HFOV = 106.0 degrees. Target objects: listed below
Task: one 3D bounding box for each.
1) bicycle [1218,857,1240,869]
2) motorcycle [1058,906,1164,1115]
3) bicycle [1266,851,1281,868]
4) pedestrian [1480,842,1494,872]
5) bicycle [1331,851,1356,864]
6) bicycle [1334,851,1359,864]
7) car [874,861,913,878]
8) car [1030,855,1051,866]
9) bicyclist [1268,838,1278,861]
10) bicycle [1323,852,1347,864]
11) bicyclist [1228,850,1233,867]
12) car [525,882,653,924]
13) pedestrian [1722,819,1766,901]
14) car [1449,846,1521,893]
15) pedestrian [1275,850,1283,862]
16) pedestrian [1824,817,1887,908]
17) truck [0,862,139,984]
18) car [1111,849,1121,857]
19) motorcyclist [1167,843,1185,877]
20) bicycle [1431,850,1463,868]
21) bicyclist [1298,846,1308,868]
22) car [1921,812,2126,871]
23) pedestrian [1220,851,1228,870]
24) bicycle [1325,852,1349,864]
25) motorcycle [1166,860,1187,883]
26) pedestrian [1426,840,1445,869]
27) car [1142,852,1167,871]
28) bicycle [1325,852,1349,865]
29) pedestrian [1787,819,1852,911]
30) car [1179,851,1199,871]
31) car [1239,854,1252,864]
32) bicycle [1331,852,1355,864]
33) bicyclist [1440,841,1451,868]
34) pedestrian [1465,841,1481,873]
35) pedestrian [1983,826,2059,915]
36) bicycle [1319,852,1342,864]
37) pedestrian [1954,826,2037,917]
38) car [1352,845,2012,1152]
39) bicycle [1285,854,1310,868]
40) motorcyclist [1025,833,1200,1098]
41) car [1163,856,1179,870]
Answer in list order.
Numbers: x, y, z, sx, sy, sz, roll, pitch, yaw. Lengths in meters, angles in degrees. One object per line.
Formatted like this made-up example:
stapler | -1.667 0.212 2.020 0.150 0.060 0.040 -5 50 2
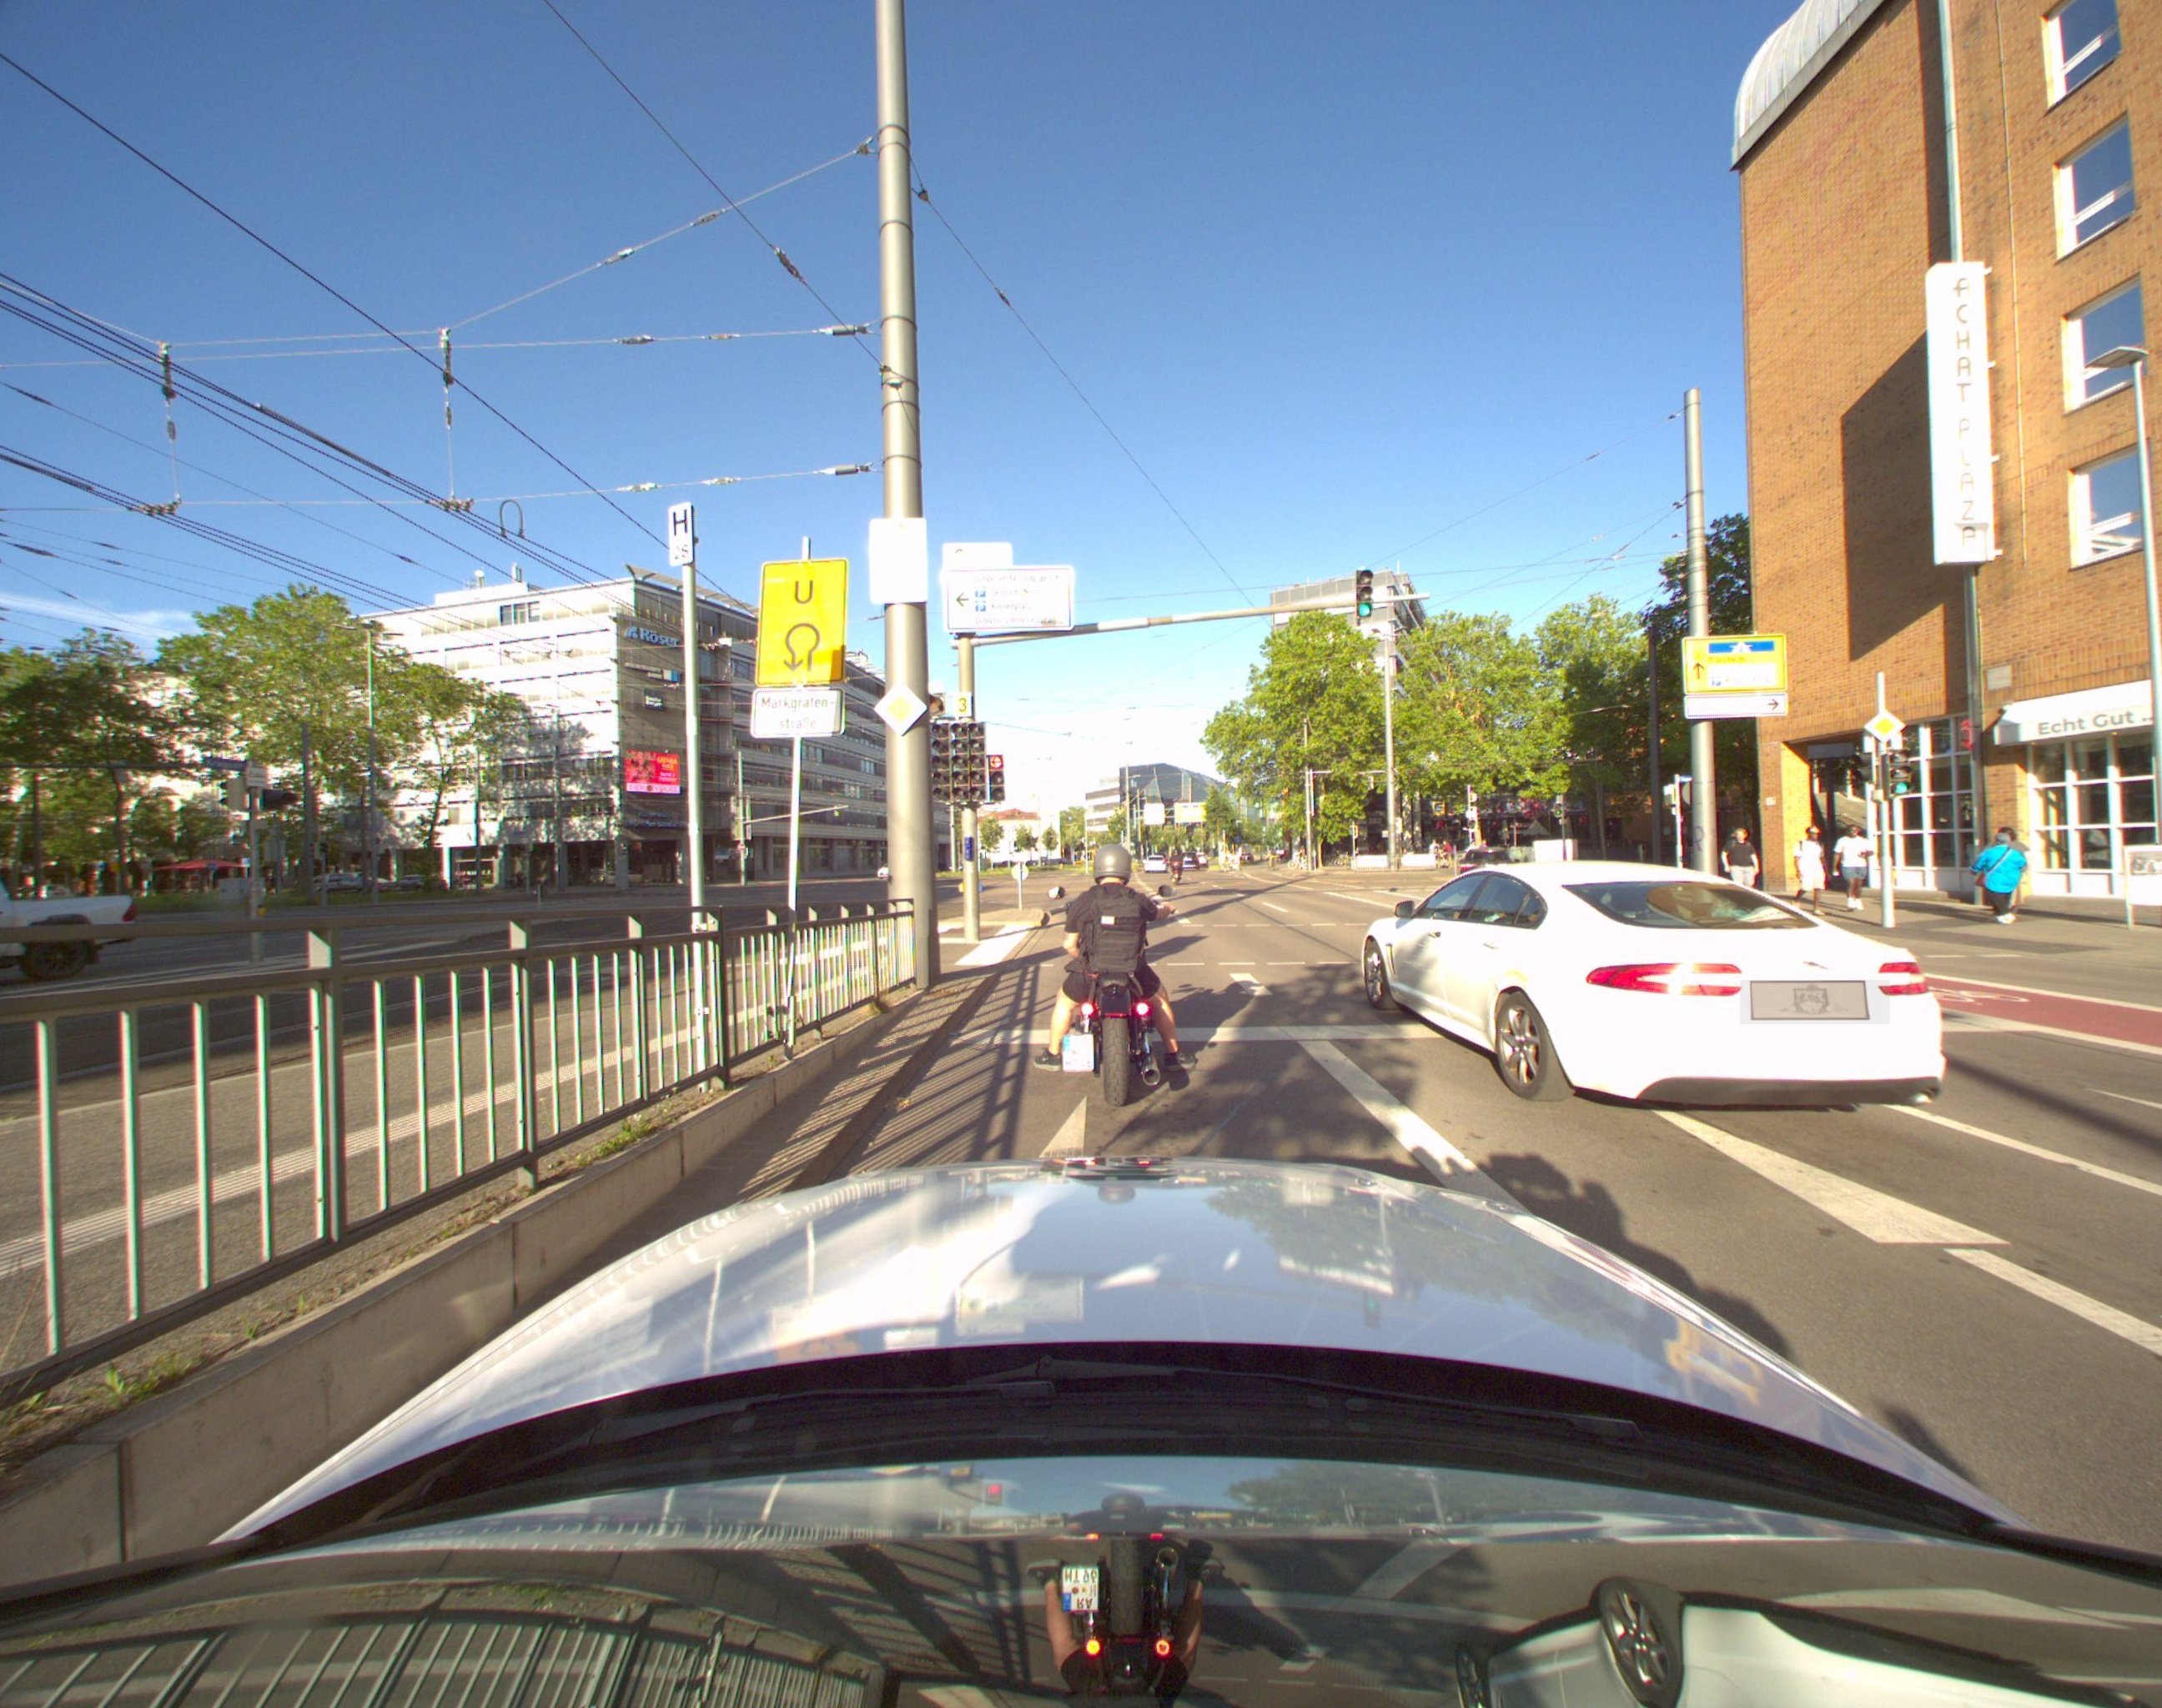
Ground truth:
bicycle | 12.170 0.751 66.947 1.823 0.925 0.357 0 -1 -7
motorcycle | 0.208 0.963 5.753 0.598 1.036 2.235 0 0 2
bicycle | 15.355 0.438 64.988 0.722 1.367 2.922 0 -1 6
pedestrian | 20.018 0.162 40.167 0.561 1.479 0.706 -1 -1 22
bicycle | 21.306 0.304 66.168 1.874 1.046 0.360 0 -1 1
bicycle | 21.301 0.282 65.386 1.874 1.046 0.360 0 -1 1
car | -17.264 1.428 75.226 1.813 1.430 4.544 -2 0 11
car | -5.735 0.956 115.740 1.736 1.524 4.016 -1 -1 16
bicyclist | 15.329 -0.338 64.966 0.693 1.808 0.730 0 -1 6
bicycle | 21.578 0.347 69.155 1.874 1.046 0.360 0 0 1
bicyclist | 12.299 0.390 66.965 0.380 1.373 0.344 0 -1 -7
car | -13.879 1.359 23.104 2.884 1.063 1.235 0 -1 -19
pedestrian | 14.943 0.141 18.356 0.727 1.792 0.515 -1 -1 42
car | 13.415 0.479 27.238 1.717 1.450 4.061 -1 0 20
pedestrian | 21.967 0.276 90.347 0.814 1.314 0.640 -1 -1 11
pedestrian | 15.654 0.175 16.469 0.588 1.780 0.684 -3 -1 13
truck | -17.847 1.148 11.961 1.988 1.879 5.152 -4 0 -2
car | 8.868 -0.266 205.130 1.982 2.014 4.309 0 -1 8
motorcyclist | 4.438 0.292 37.950 0.793 1.580 0.529 0 -1 1
bicycle | 25.216 0.347 56.145 2.034 1.214 0.421 0 -1 2
bicyclist | 17.702 0.241 64.930 0.682 1.673 0.544 -2 -2 21
car | 33.493 -0.411 29.131 4.418 2.009 1.819 0 0 24
pedestrian | 12.008 0.533 68.445 0.587 1.557 0.488 0 -1 -6
bicycle | 21.571 0.347 68.655 1.874 1.046 0.360 0 0 1
motorcycle | 4.438 0.810 38.073 0.801 1.050 2.376 0 -1 2
pedestrian | 21.302 0.026 48.920 0.829 1.704 0.760 0 -1 2
car | 6.009 0.619 66.863 1.725 1.457 4.419 0 -1 2
bicycle | 21.416 0.354 68.170 1.874 1.046 0.360 0 -1 1
pedestrian | 14.827 0.214 16.367 0.589 1.780 0.683 -5 0 7
car | 9.807 0.635 74.290 1.723 1.732 4.620 0 0 6
car | 29.201 0.855 144.454 1.789 1.678 4.059 0 -1 18
bicycle | 21.533 0.326 66.980 1.874 1.046 0.360 0 -1 1
bicyclist | 25.142 0.039 56.158 0.582 1.837 0.403 0 -1 1
pedestrian | 19.371 0.160 40.239 0.562 1.532 0.705 -1 -1 15
pedestrian | 16.128 0.279 13.987 0.590 1.476 0.552 -2 -1 2
bicycle | 21.530 0.353 70.307 1.874 1.046 0.360 0 0 1
pedestrian | 15.342 0.285 13.679 0.590 1.452 0.601 -4 -1 2
car | 3.613 0.695 6.131 1.796 1.430 4.455 -2 0 2
bicycle | 17.307 0.568 65.075 1.854 1.044 0.540 -1 -1 20
motorcyclist | 0.207 0.683 5.414 1.027 1.593 0.874 -2 0 1
car | 10.780 1.109 97.712 1.794 1.678 4.047 0 -1 6
